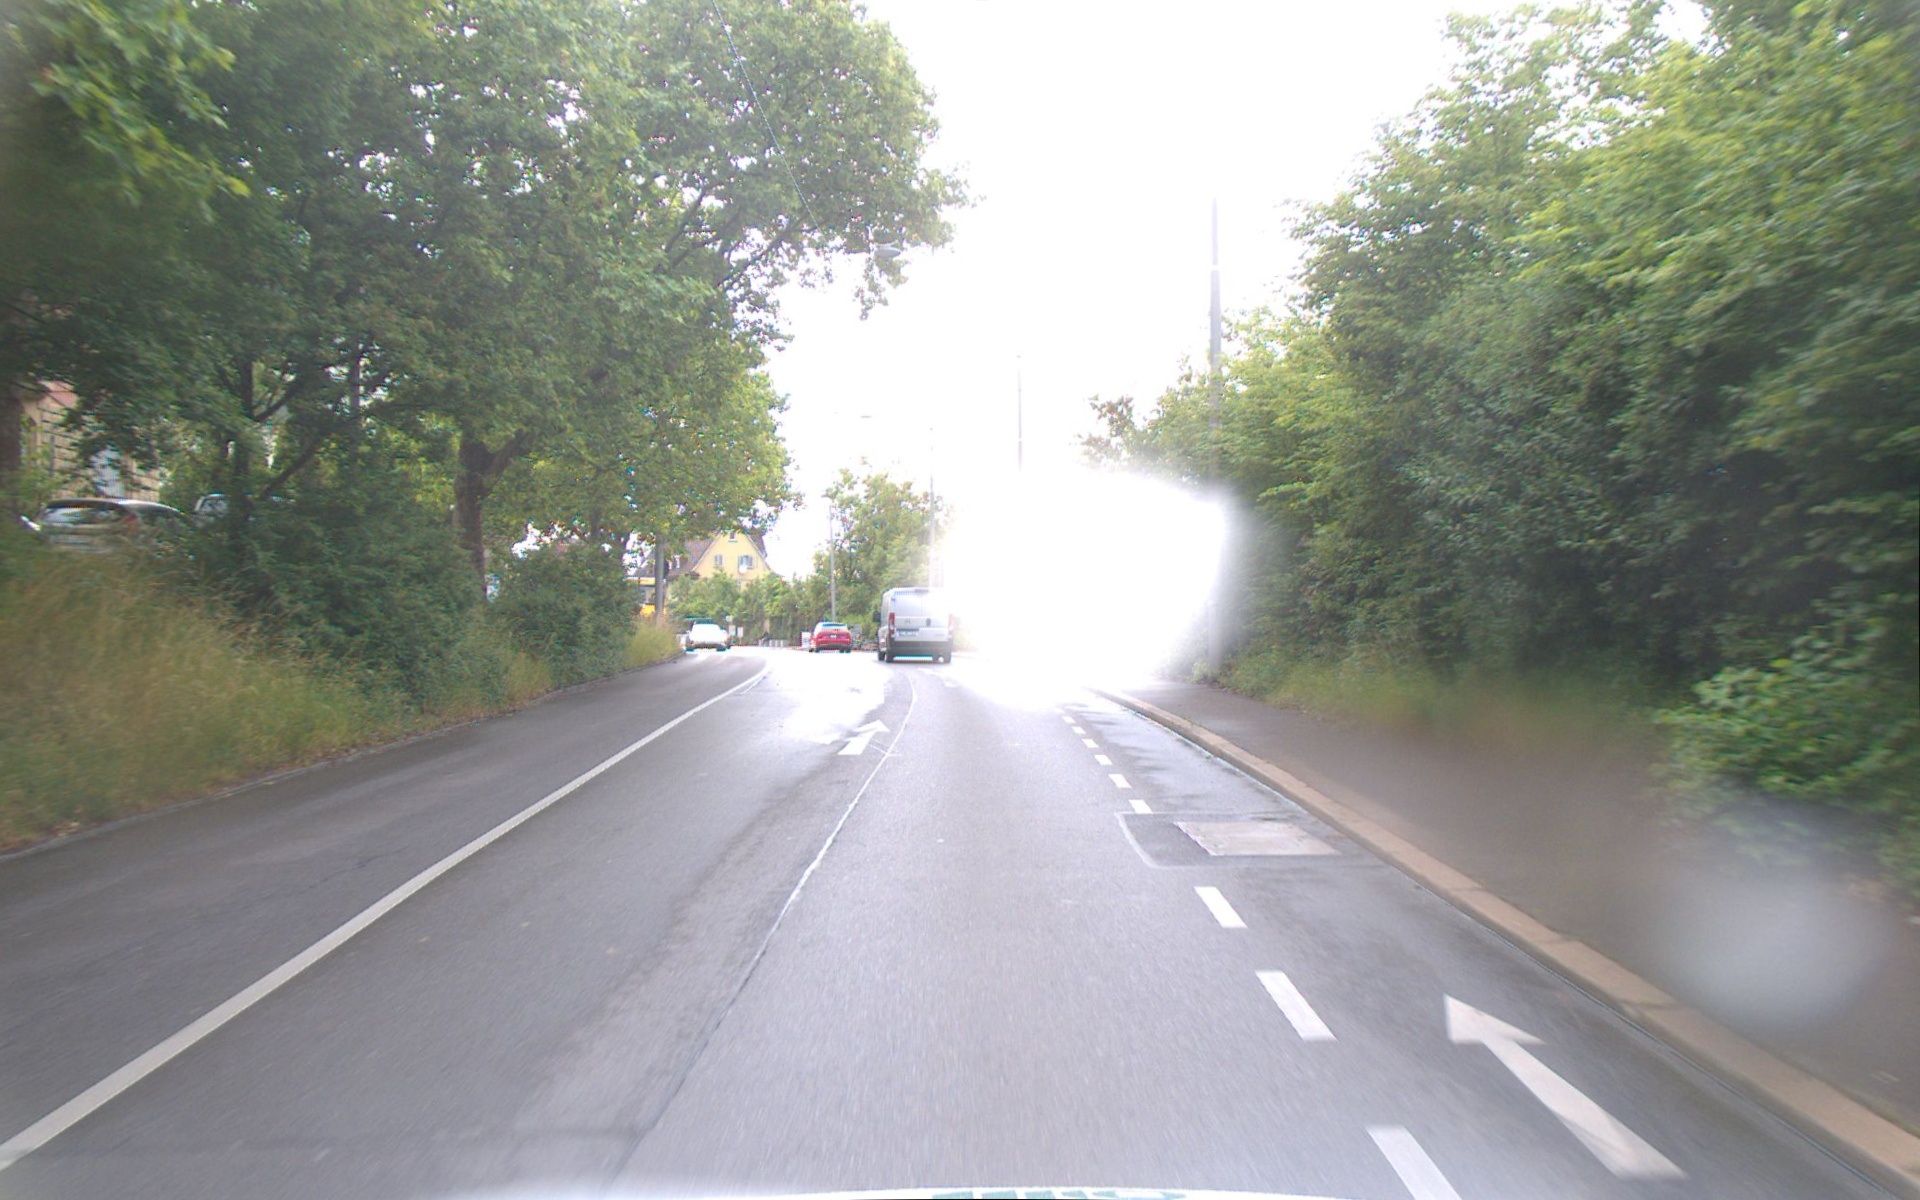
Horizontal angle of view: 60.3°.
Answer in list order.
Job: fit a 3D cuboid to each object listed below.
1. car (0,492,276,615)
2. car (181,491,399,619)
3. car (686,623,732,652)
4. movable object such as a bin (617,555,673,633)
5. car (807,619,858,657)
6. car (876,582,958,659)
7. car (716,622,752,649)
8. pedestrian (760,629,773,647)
[{"bbox_3d":[-11.861,-0.613,24.109,1.793,1.584,4.627,1,0,0],"label":"car"},{"bbox_3d":[-11.833,-0.740,29.579,1.953,2.049,4.627,1,0,0],"label":"car"},{"bbox_3d":[-13.284,1.963,87.287,2.035,1.376,4.697,1,0,-13],"label":"car"},{"bbox_3d":[-16.580,-0.313,86.866,2.725,3.923,5.970,1,0,-12],"label":"movable object such as a bin"},{"bbox_3d":[-6.136,1.793,79.162,2.195,1.685,4.706,1,0,-7],"label":"car"},{"bbox_3d":[-1.400,0.605,51.912,2.194,2.252,4.707,1,0,-6],"label":"car"},{"bbox_3d":[-16.760,2.633,122.569,2.198,1.836,4.698,1,0,-13],"label":"car"},{"bbox_3d":[-15.927,3.121,136.229,0.864,1.391,1.062,1,0,-14],"label":"pedestrian"}]
